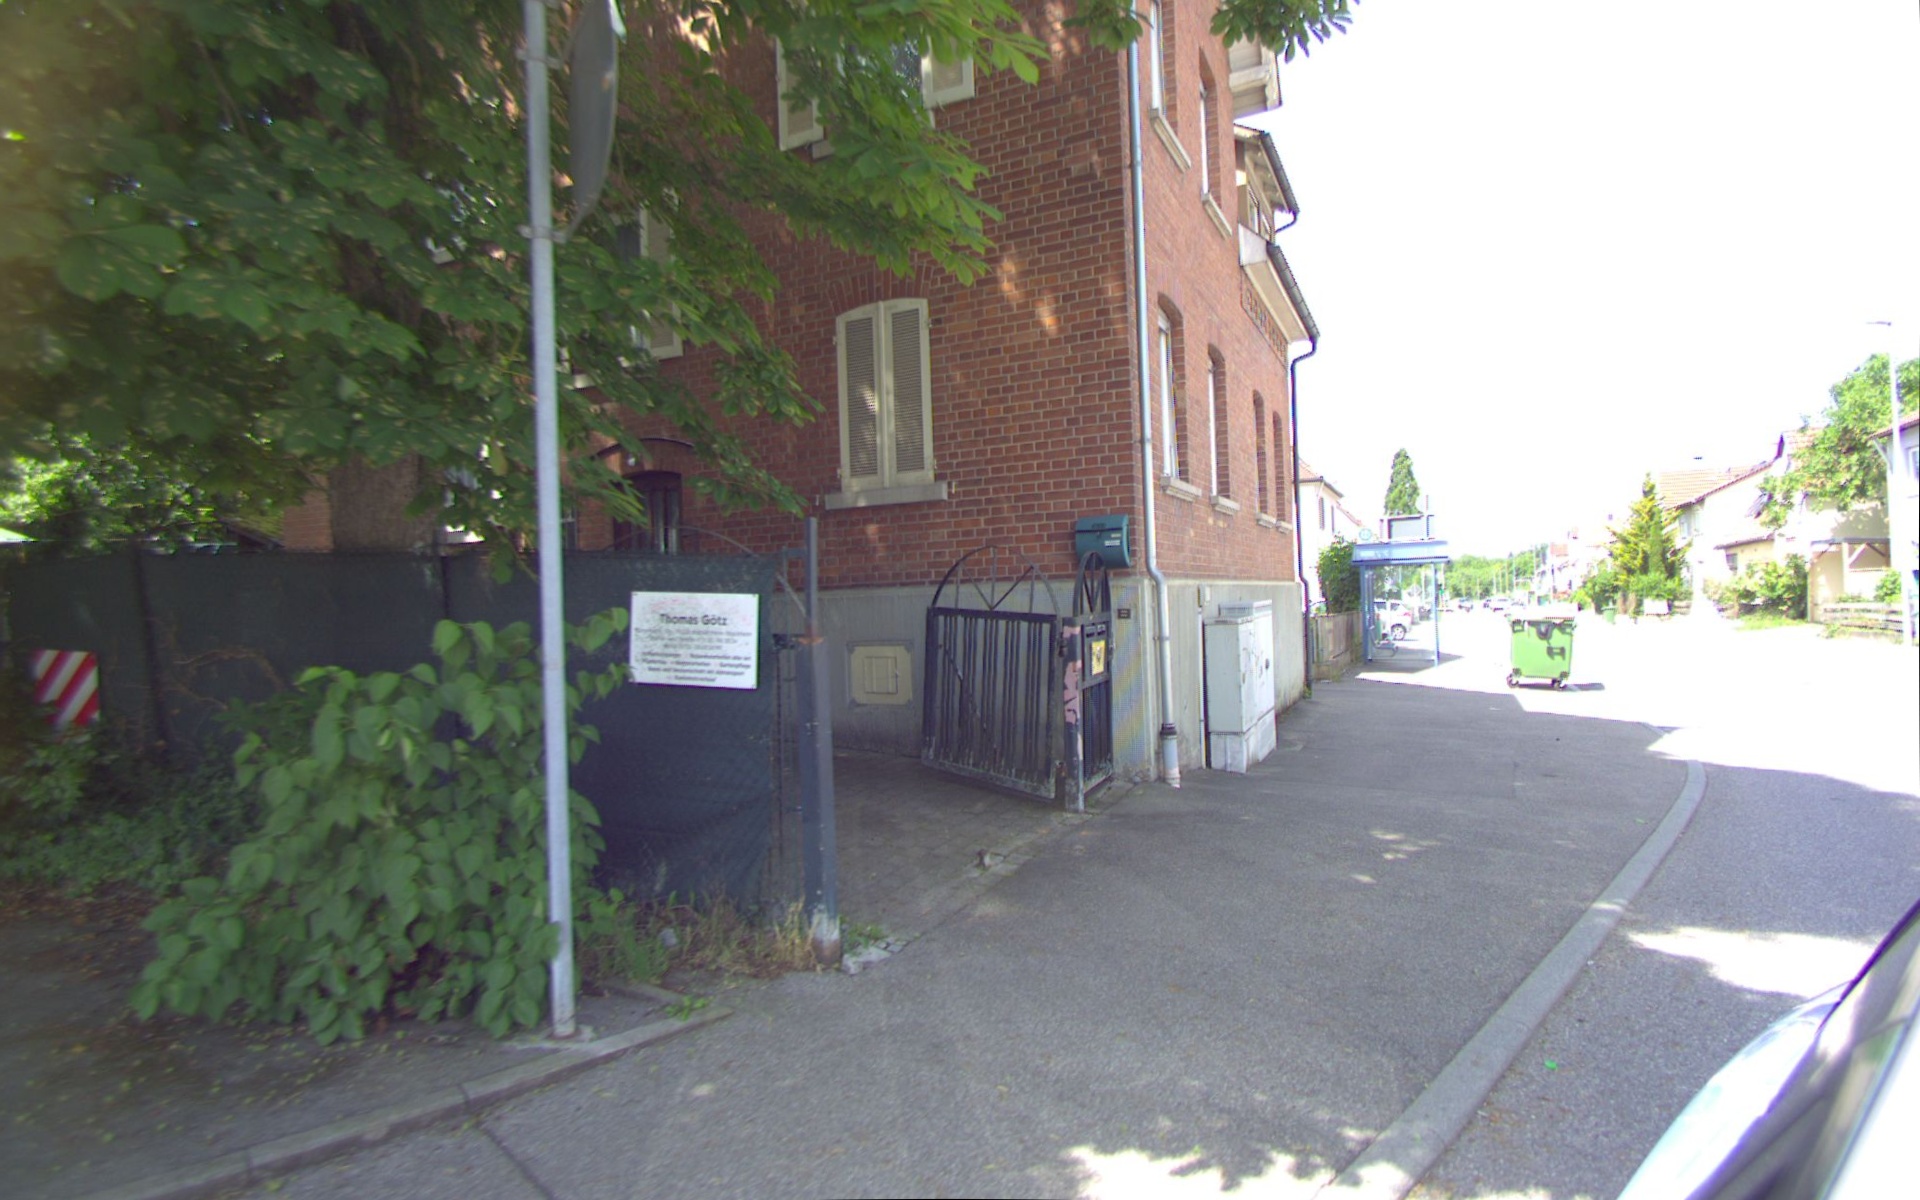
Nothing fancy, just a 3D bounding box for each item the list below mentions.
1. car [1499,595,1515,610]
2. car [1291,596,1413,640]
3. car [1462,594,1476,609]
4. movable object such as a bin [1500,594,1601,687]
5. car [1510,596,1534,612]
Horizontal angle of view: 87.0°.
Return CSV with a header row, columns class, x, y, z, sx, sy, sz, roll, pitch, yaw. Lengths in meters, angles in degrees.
class,x,y,z,sx,sy,sz,roll,pitch,yaw
car,62.380,0.276,115.412,1.396,1.721,3.287,-1,-1,25
car,14.986,0.678,38.851,3.927,1.591,1.762,-1,-1,3
car,59.723,0.149,118.733,1.396,1.721,3.287,-1,-1,25
movable object such as a bin,10.282,0.687,17.697,1.340,1.540,1.281,-1,-1,23
car,49.950,0.318,89.954,1.632,1.374,3.535,-1,-1,26
